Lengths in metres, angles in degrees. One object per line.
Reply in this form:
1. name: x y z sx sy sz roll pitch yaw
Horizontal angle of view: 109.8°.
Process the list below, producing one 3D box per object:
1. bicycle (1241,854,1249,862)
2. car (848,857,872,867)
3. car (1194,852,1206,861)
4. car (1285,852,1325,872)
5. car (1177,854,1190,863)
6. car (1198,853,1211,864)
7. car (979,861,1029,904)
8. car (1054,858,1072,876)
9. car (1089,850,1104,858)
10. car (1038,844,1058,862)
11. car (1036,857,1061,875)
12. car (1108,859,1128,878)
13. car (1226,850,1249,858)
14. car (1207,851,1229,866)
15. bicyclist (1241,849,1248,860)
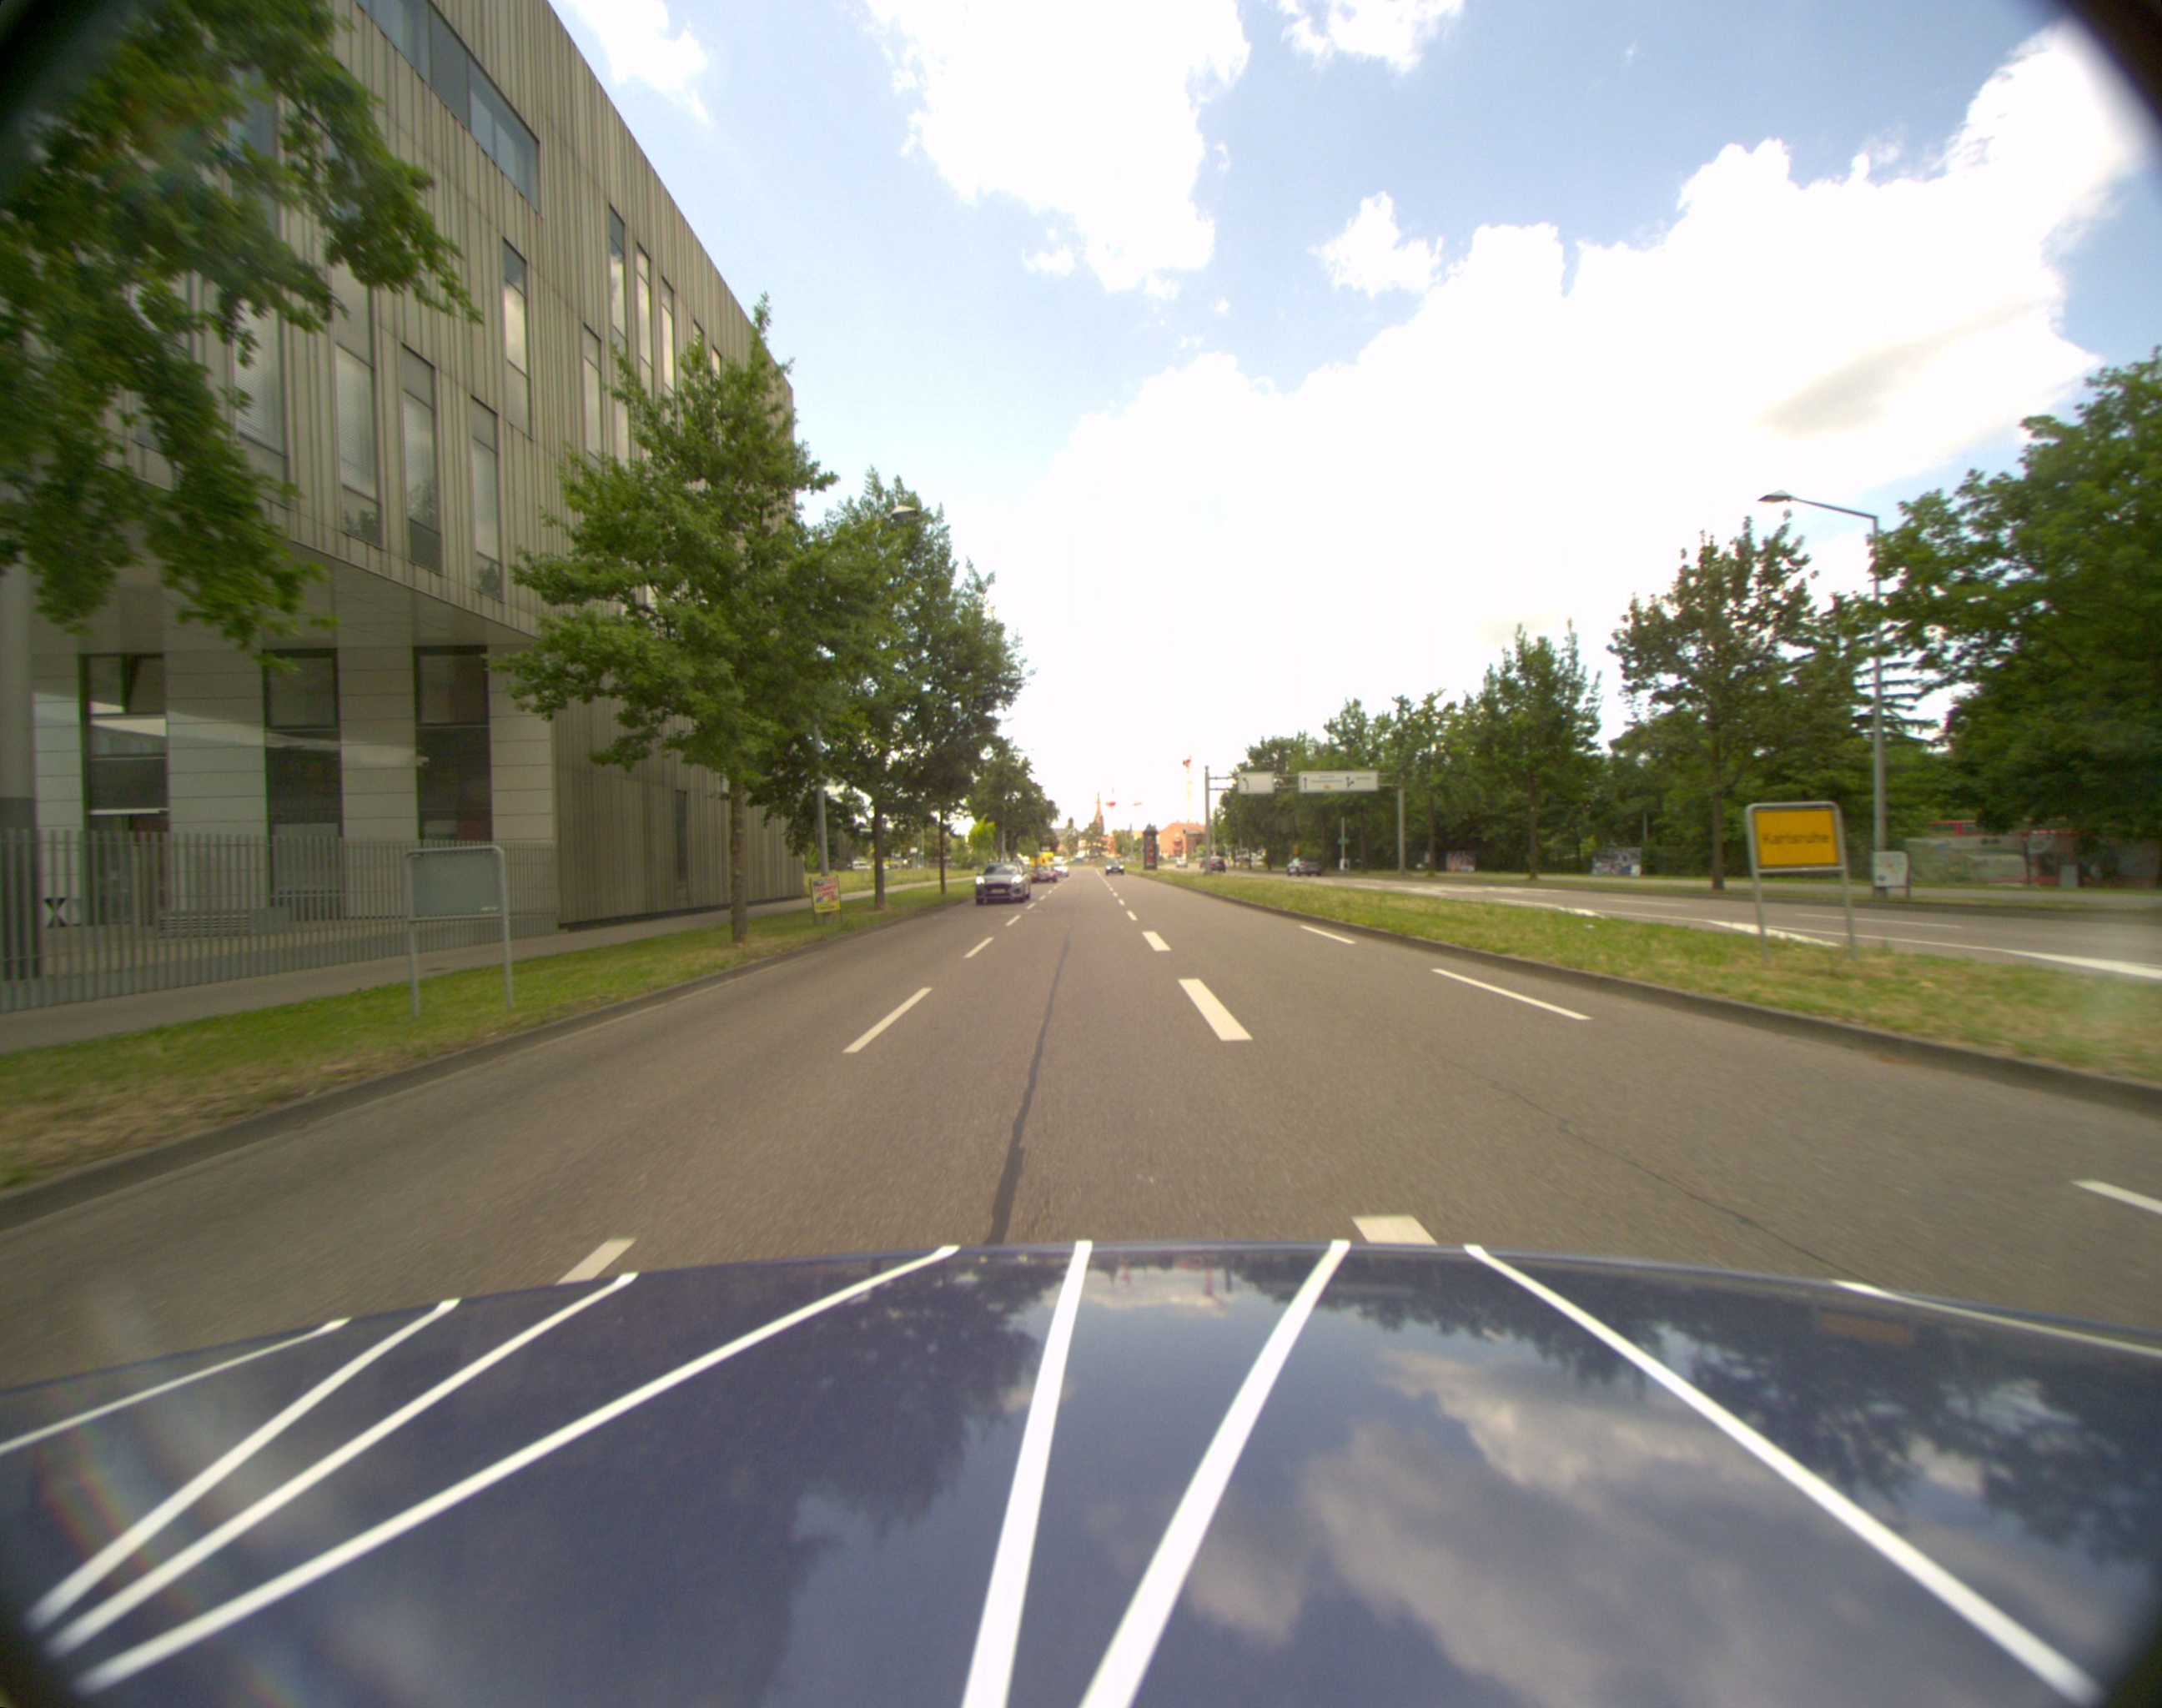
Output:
1. bicycle: 25.111 0.639 116.373 0.763 1.212 2.016 -4 1 1
2. car: -50.679 1.803 174.573 2.144 2.135 5.161 -2 0 30
3. car: 21.235 0.385 135.334 1.724 1.581 5.019 -1 0 15
4. car: 17.376 0.614 59.090 1.746 1.536 4.573 0 0 0
5. car: 15.831 0.679 117.510 1.767 1.431 4.310 -1 0 5
6. car: 18.520 0.694 114.112 1.766 1.568 5.034 -1 0 8
7. car: -2.890 1.048 29.256 1.674 1.462 4.091 -1 0 -3
8. car: -1.925 1.350 79.710 1.674 1.589 4.126 -3 1 -3
9. car: 4.733 0.136 226.174 2.396 2.184 6.828 -2 0 -17
10. car: -5.490 -0.225 124.861 2.286 2.836 7.249 -1 0 -9
11. car: -2.396 0.852 56.390 1.674 1.254 4.092 -1 0 0
12. car: 3.732 1.482 77.801 1.774 1.590 4.126 -3 2 0
13. car: 29.782 -0.029 144.423 4.763 1.471 1.838 -1 1 -45
14. car: 14.904 0.461 82.922 1.745 1.560 4.276 0 0 1
15. bicyclist: 25.078 0.039 116.410 0.832 1.556 0.883 -4 1 0
